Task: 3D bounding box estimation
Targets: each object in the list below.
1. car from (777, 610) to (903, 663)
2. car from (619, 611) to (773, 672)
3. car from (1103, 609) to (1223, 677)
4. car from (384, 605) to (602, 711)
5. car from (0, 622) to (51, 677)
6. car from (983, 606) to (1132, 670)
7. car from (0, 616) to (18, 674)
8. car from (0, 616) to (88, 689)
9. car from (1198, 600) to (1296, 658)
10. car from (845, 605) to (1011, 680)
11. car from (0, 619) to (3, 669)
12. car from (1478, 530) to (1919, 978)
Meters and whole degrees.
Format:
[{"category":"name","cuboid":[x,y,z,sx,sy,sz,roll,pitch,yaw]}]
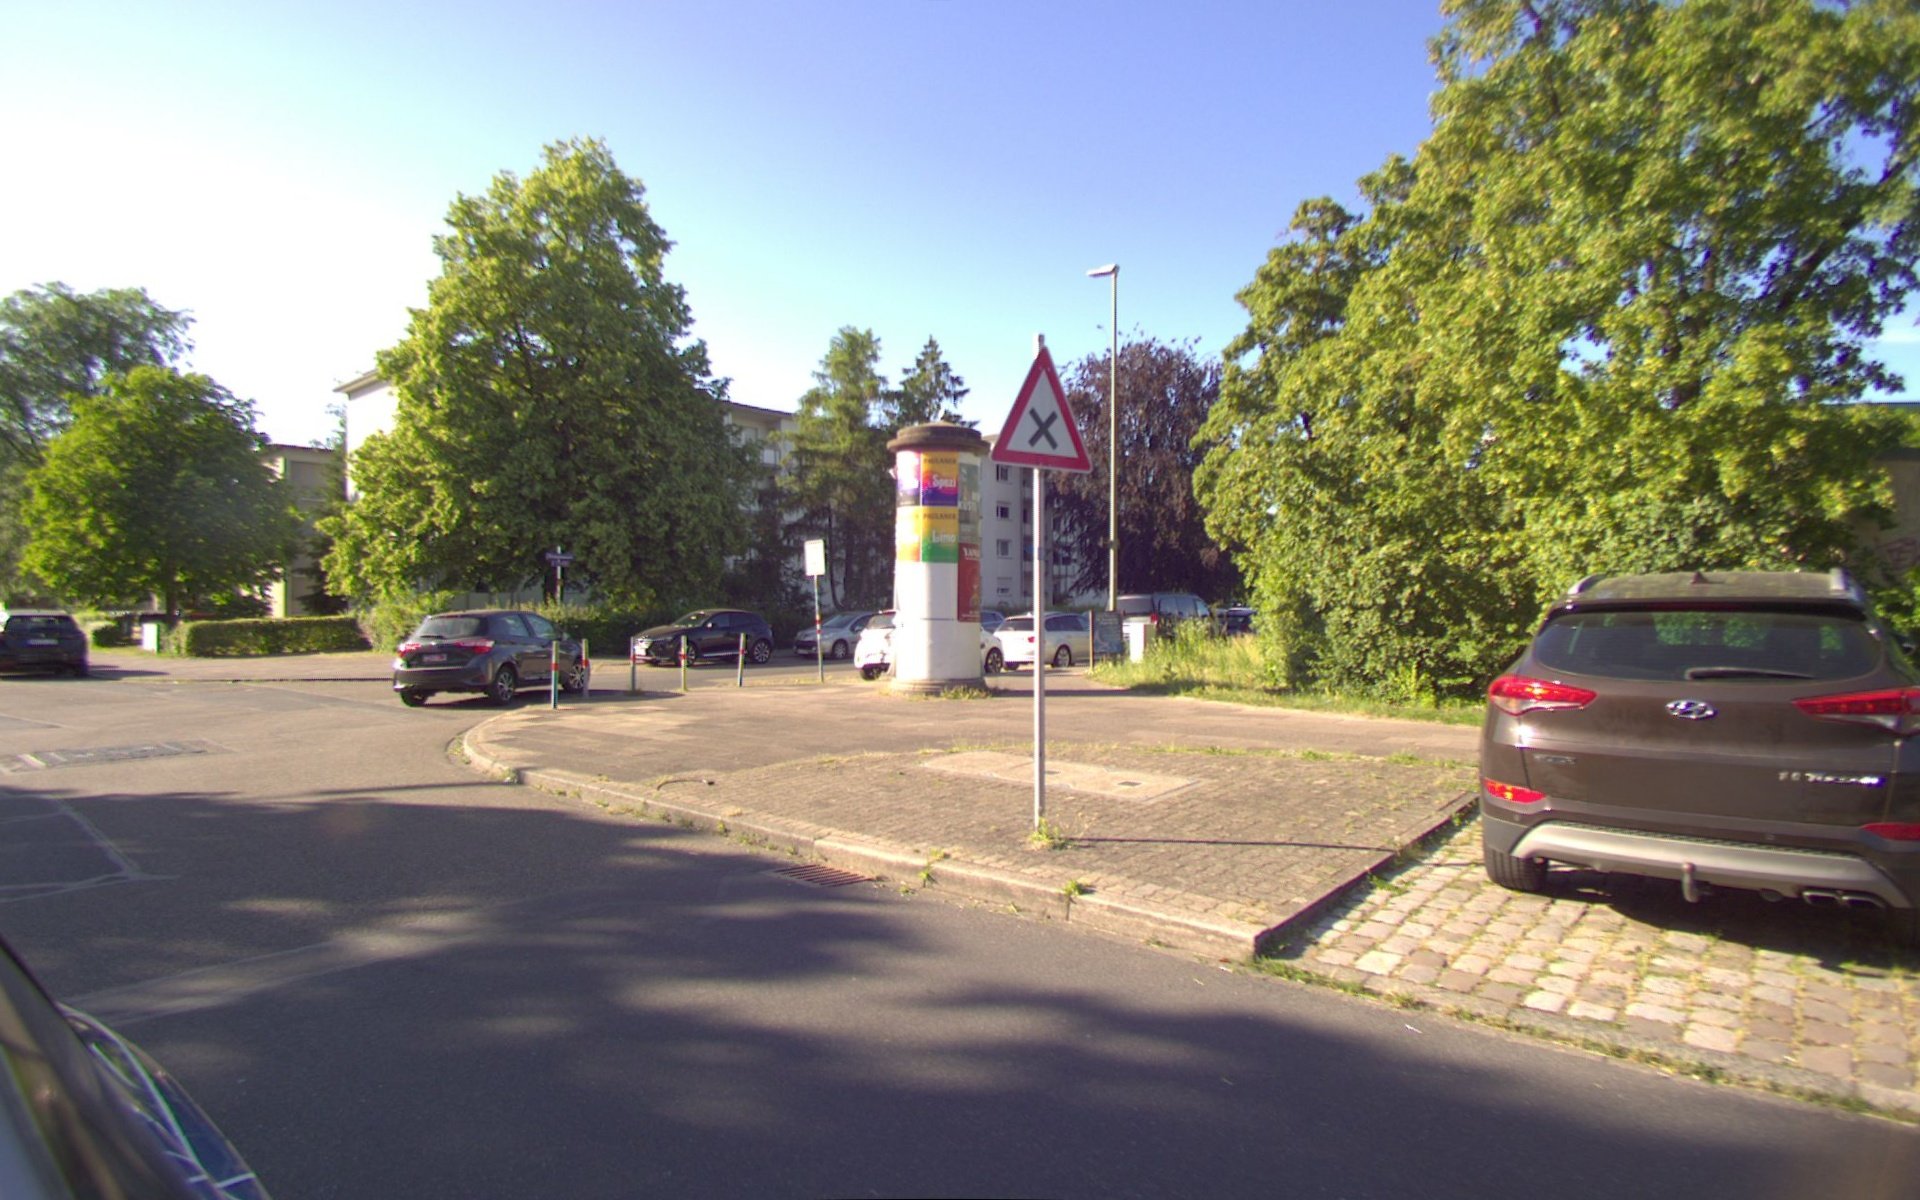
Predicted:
[{"category":"car","cuboid":[-3.727,1.118,31.968,1.744,1.554,3.877,0,-1,38]},{"category":"car","cuboid":[-7.233,1.096,28.023,1.744,1.554,3.877,0,-1,38]},{"category":"car","cuboid":[6.097,1.215,30.054,1.736,1.869,4.288,0,-1,38]},{"category":"car","cuboid":[-7.737,0.899,17.216,1.634,1.567,3.996,1,-1,4]},{"category":"car","cuboid":[-26.190,1.325,27.592,3.651,1.448,1.606,-1,-3,41]},{"category":"car","cuboid":[2.550,0.931,25.593,1.736,1.473,4.288,0,-1,38]},{"category":"car","cuboid":[-29.886,1.315,30.493,3.646,1.695,1.794,-1,-3,41]},{"category":"car","cuboid":[-22.191,1.197,23.922,4.421,1.586,1.761,-1,-1,41]},{"category":"car","cuboid":[9.926,0.984,34.793,1.736,1.869,4.288,0,-1,38]},{"category":"car","cuboid":[-0.624,0.869,21.762,1.736,1.473,3.485,0,-1,38]},{"category":"car","cuboid":[-34.053,1.476,34.366,4.165,1.652,1.711,-1,-3,39]},{"category":"car","cuboid":[4.394,0.496,5.729,1.844,1.668,4.147,0,2,38]}]
